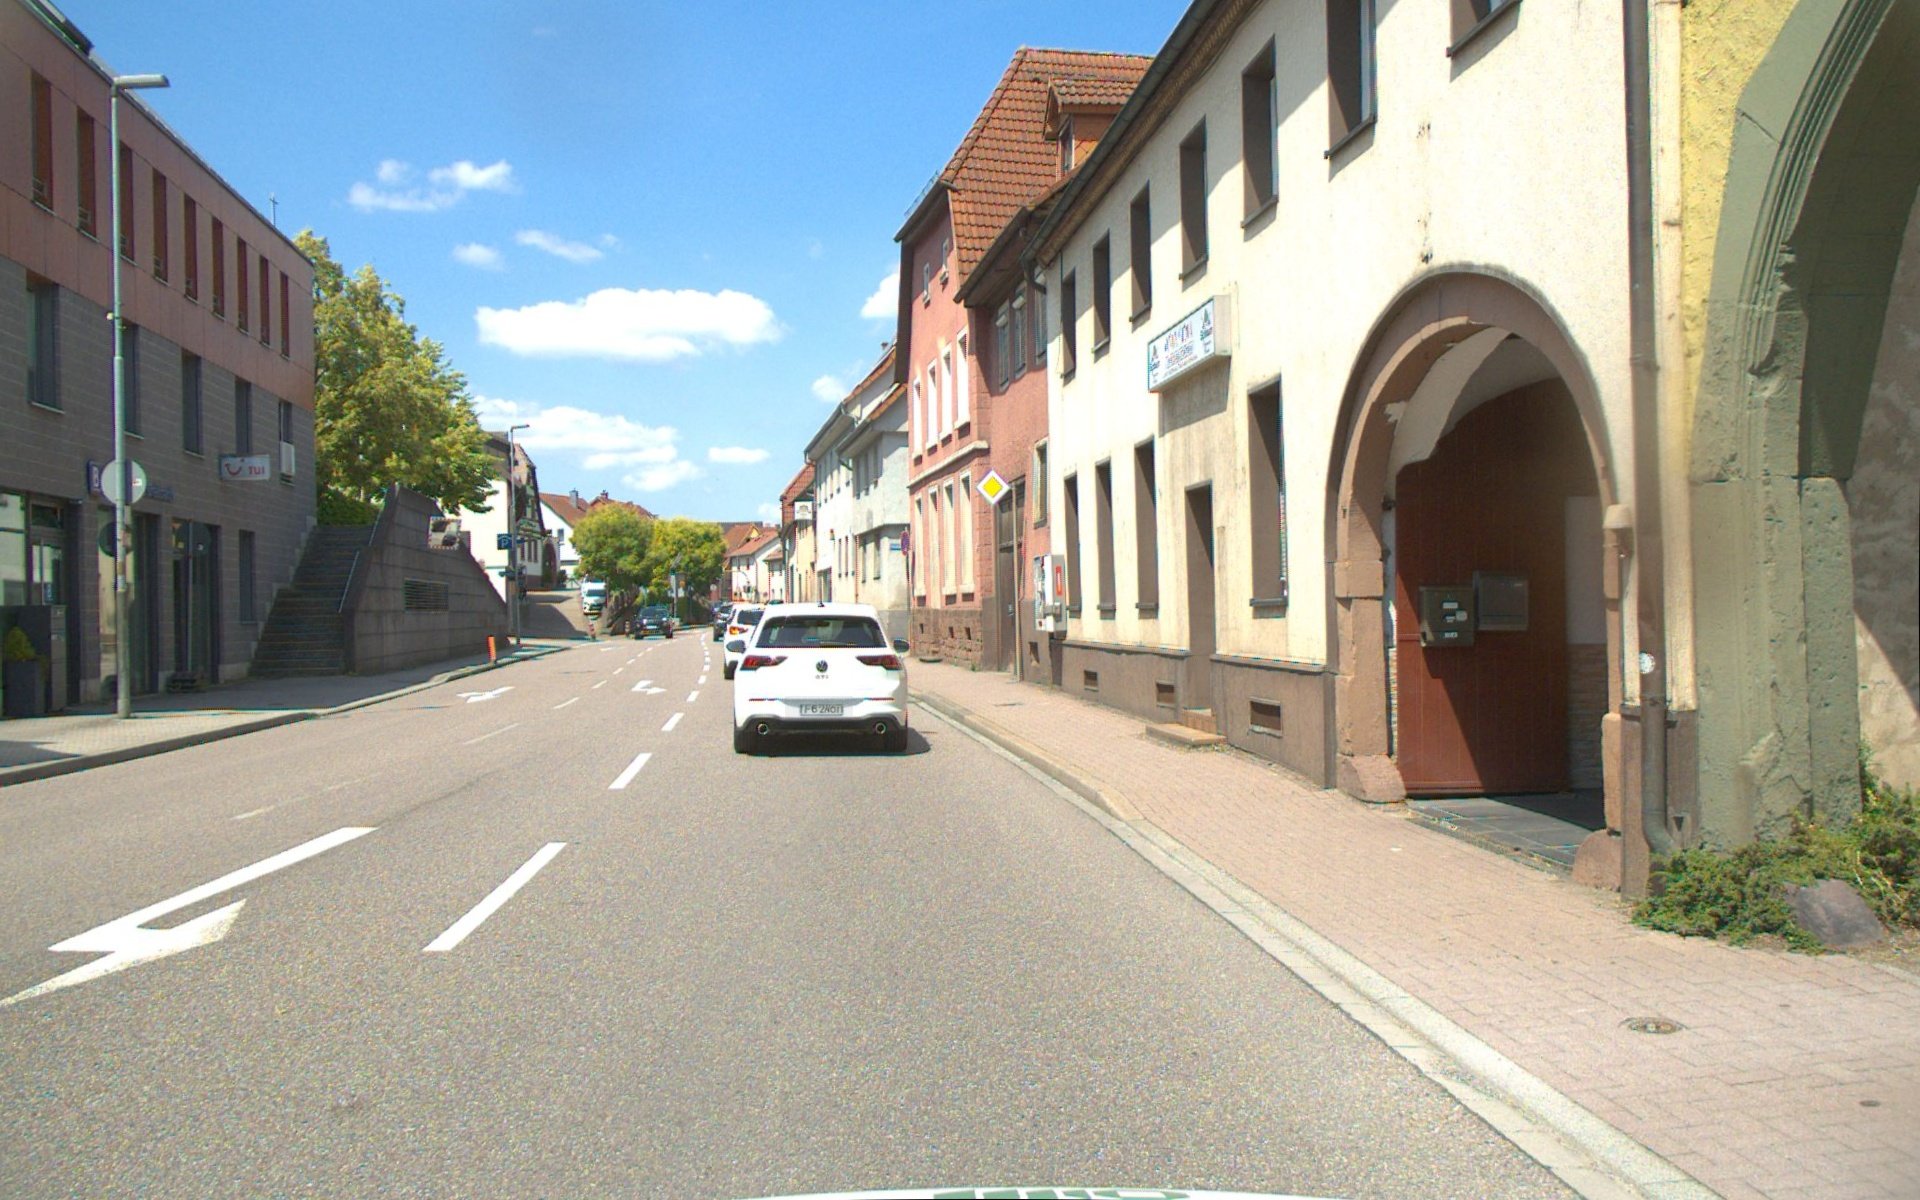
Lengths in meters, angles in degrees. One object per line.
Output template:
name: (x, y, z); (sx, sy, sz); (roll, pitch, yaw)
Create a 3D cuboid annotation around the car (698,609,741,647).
car: (-10.324, 1.174, 71.180); (1.742, 1.565, 3.994); (-1, 0, -7)

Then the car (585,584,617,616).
car: (-21.927, -0.046, 101.097); (1.662, 1.569, 3.849); (-1, 5, -10)

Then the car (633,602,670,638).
car: (-15.202, 0.982, 81.734); (1.639, 1.686, 4.009); (-1, 0, -9)

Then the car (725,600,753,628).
car: (-14.350, 0.897, 107.453); (1.742, 1.796, 3.993); (-1, 0, -8)

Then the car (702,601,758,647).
car: (-7.840, 0.800, 56.187); (1.774, 1.493, 3.991); (1, -1, -9)

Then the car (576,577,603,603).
car: (-25.236, -0.684, 112.657); (1.548, 1.385, 3.849); (-1, 6, -10)

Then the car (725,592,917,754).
car: (-1.405, 0.711, 17.528); (1.772, 1.493, 3.997); (1, -1, -3)

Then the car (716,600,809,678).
car: (-4.090, 0.779, 34.199); (1.773, 1.493, 3.993); (1, -1, -7)
